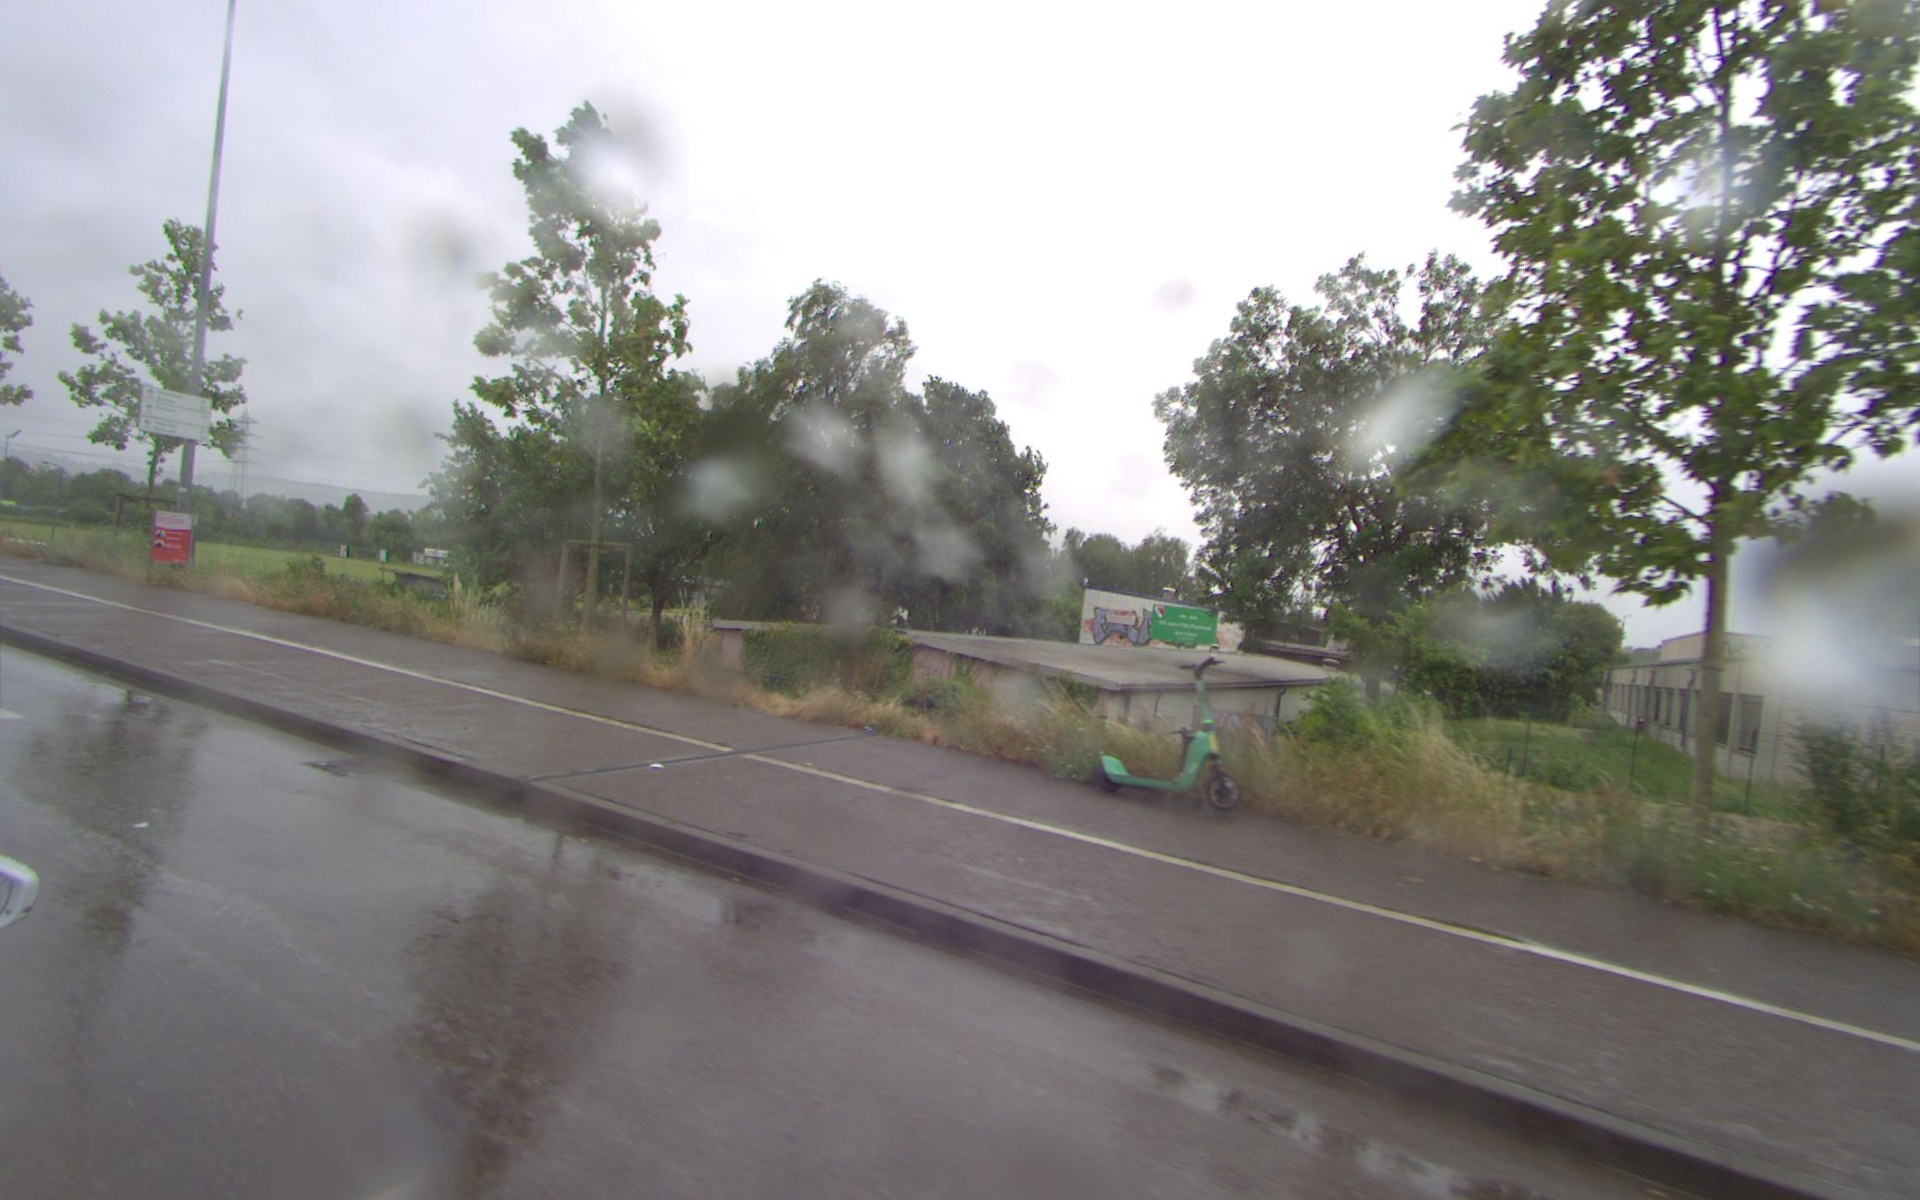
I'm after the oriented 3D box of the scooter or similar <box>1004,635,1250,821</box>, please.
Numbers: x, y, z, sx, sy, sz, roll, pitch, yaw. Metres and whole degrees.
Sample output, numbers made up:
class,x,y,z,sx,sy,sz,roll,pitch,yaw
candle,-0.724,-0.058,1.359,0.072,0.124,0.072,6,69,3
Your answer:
class,x,y,z,sx,sy,sz,roll,pitch,yaw
scooter or similar,1.329,1.001,8.278,1.882,1.213,0.367,6,-1,33

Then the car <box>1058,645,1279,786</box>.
class,x,y,z,sx,sy,sz,roll,pitch,yaw
car,2.584,1.364,11.958,1.324,1.303,3.240,6,-3,34
